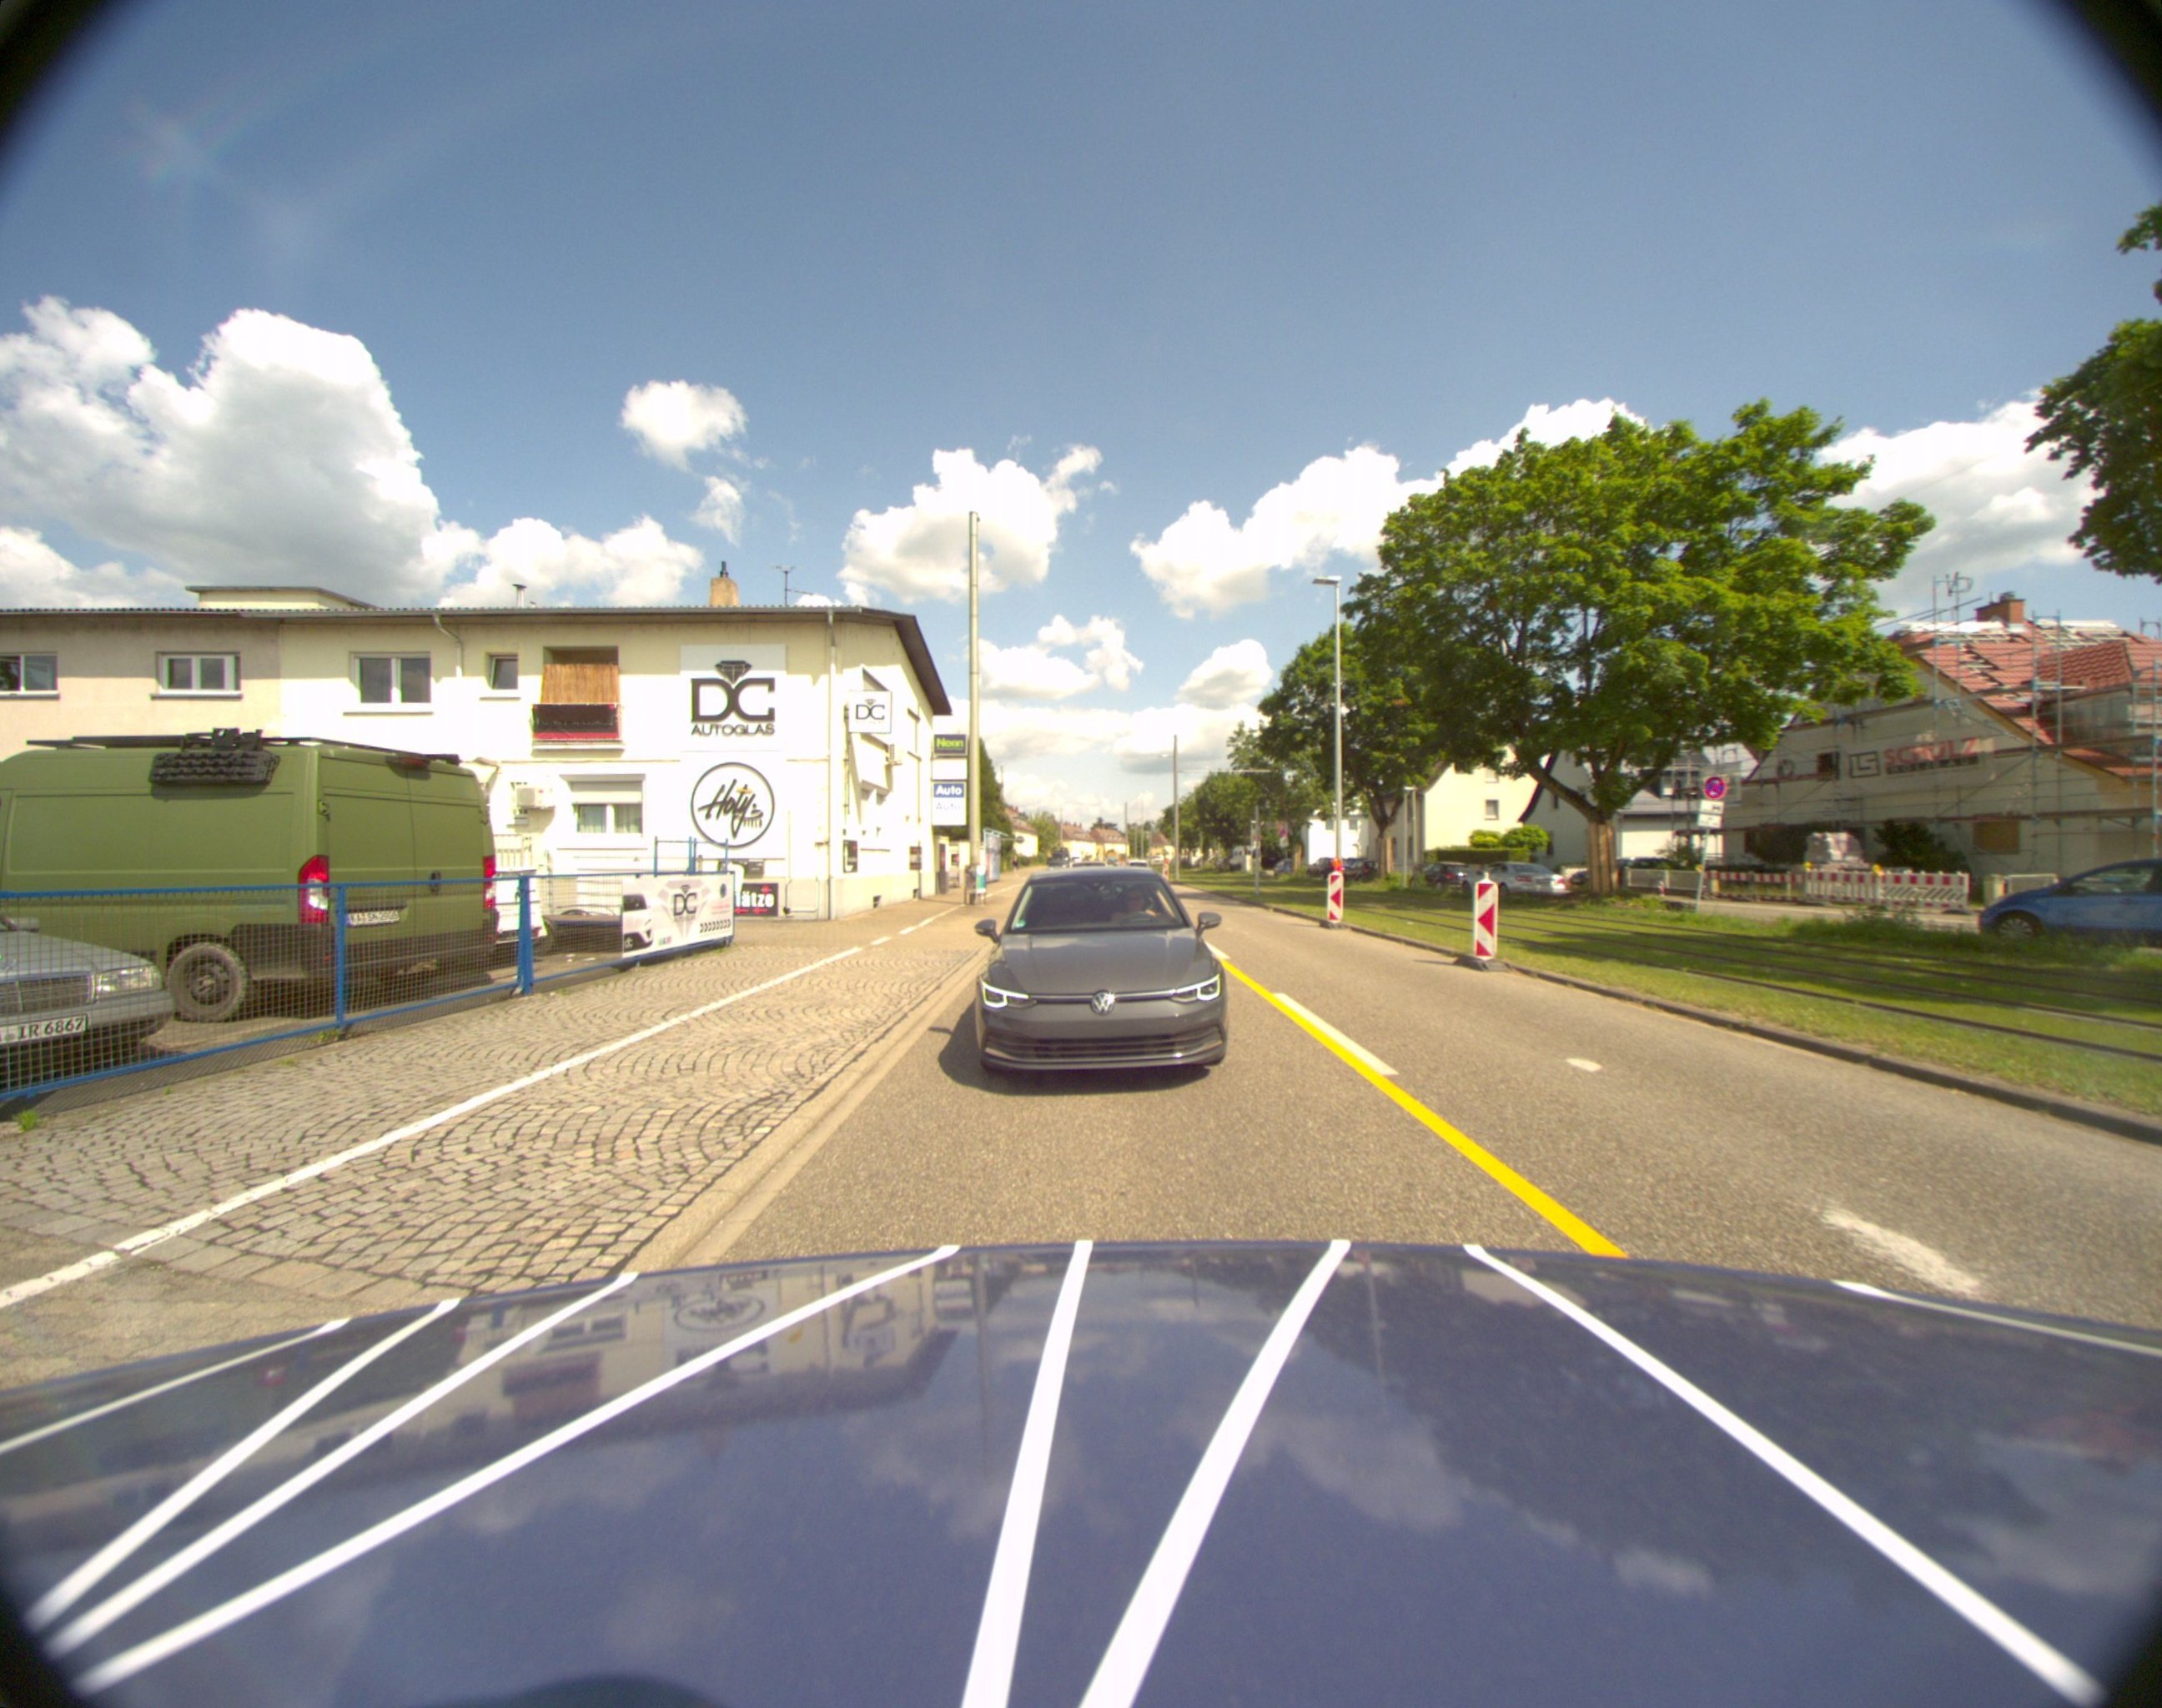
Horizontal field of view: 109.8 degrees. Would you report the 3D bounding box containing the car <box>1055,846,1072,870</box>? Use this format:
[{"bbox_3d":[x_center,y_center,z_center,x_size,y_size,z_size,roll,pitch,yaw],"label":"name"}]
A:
[{"bbox_3d":[-1.923,0.417,82.850,1.720,2.526,5.794,0,0,0],"label":"car"}]

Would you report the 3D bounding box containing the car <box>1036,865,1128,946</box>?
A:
[{"bbox_3d":[0.046,1.009,16.352,1.719,1.470,4.009,0,0,1],"label":"car"}]

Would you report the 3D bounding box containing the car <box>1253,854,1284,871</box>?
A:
[{"bbox_3d":[17.580,0.761,71.499,1.755,1.602,4.606,0,0,0],"label":"car"}]

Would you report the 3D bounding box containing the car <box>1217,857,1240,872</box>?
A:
[{"bbox_3d":[16.927,1.158,87.273,1.755,1.602,4.606,0,0,0],"label":"car"}]

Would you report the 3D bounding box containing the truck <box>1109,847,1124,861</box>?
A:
[{"bbox_3d":[9.394,0.033,201.137,2.590,3.431,8.585,0,0,11],"label":"truck"}]

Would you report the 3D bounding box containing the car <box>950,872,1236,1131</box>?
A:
[{"bbox_3d":[0.099,0.939,6.580,1.719,1.470,4.009,0,0,1],"label":"car"}]

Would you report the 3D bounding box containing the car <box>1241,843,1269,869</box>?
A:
[{"bbox_3d":[17.641,0.202,77.070,1.755,2.601,4.606,0,0,0],"label":"car"}]

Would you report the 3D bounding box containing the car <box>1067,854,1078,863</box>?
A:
[{"bbox_3d":[-1.372,0.746,122.960,1.720,1.470,4.009,0,0,0],"label":"car"}]

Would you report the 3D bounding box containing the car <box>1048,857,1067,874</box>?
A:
[{"bbox_3d":[-2.165,1.071,70.988,1.720,1.470,4.009,0,0,0],"label":"car"}]

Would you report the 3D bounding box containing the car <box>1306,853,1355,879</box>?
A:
[{"bbox_3d":[16.676,0.768,50.910,1.755,1.602,4.606,0,0,0],"label":"car"}]

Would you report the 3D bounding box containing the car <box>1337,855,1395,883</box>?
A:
[{"bbox_3d":[16.898,0.854,45.270,1.755,1.602,4.606,0,0,0],"label":"car"}]

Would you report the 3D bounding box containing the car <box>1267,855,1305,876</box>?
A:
[{"bbox_3d":[16.491,0.921,61.359,1.755,1.602,4.606,0,0,0],"label":"car"}]

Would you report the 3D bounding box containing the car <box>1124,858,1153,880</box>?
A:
[{"bbox_3d":[3.935,0.987,52.097,1.719,1.405,4.262,0,0,1],"label":"car"}]

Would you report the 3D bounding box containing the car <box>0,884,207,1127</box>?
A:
[{"bbox_3d":[-8.437,0.919,4.811,4.206,1.388,1.804,0,0,8],"label":"car"}]

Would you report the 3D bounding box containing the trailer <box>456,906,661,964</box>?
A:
[{"bbox_3d":[-8.063,1.240,11.837,2.329,0.762,1.269,0,0,2],"label":"trailer"}]

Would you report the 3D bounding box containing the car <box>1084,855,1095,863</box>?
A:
[{"bbox_3d":[1.806,0.997,155.304,1.718,1.470,4.011,0,0,8],"label":"car"}]

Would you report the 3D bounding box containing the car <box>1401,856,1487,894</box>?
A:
[{"bbox_3d":[16.587,0.920,35.032,1.755,1.602,4.606,0,0,0],"label":"car"}]

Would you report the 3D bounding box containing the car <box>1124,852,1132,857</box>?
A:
[{"bbox_3d":[13.519,0.247,218.480,1.718,1.470,4.013,0,0,13],"label":"car"}]

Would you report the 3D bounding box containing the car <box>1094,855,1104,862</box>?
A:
[{"bbox_3d":[4.095,1.005,172.738,1.718,1.470,4.011,0,0,8],"label":"car"}]

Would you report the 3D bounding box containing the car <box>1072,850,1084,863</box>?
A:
[{"bbox_3d":[-0.437,0.408,136.324,1.719,2.360,5.211,0,0,5],"label":"car"}]

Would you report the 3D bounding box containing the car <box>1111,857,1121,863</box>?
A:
[{"bbox_3d":[7.615,1.257,164.331,1.754,1.405,4.264,0,0,7],"label":"car"}]

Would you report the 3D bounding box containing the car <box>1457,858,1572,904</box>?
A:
[{"bbox_3d":[16.386,0.968,29.010,1.755,1.602,4.606,0,0,0],"label":"car"}]

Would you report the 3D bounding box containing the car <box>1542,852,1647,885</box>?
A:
[{"bbox_3d":[25.509,0.724,37.836,4.047,1.602,1.757,0,0,1],"label":"car"}]

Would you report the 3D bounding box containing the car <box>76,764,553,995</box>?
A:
[{"bbox_3d":[-9.456,0.304,9.653,4.209,2.653,1.803,0,0,0],"label":"car"}]

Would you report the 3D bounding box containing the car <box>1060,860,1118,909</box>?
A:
[{"bbox_3d":[0.275,0.961,25.463,1.787,1.470,4.009,0,0,1],"label":"car"}]

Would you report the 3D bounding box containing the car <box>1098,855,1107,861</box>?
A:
[{"bbox_3d":[5.167,1.007,179.088,1.718,1.470,4.011,0,0,8],"label":"car"}]

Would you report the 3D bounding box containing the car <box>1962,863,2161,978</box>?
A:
[{"bbox_3d":[16.253,0.961,11.235,1.755,1.602,4.050,0,0,0],"label":"car"}]

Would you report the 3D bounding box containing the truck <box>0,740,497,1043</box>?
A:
[{"bbox_3d":[-8.624,0.330,7.567,3.997,2.592,2.069,0,0,1],"label":"truck"}]

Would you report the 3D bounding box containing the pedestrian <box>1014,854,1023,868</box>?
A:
[{"bbox_3d":[-6.654,0.749,81.143,0.816,1.577,0.918,0,0,1],"label":"pedestrian"}]
